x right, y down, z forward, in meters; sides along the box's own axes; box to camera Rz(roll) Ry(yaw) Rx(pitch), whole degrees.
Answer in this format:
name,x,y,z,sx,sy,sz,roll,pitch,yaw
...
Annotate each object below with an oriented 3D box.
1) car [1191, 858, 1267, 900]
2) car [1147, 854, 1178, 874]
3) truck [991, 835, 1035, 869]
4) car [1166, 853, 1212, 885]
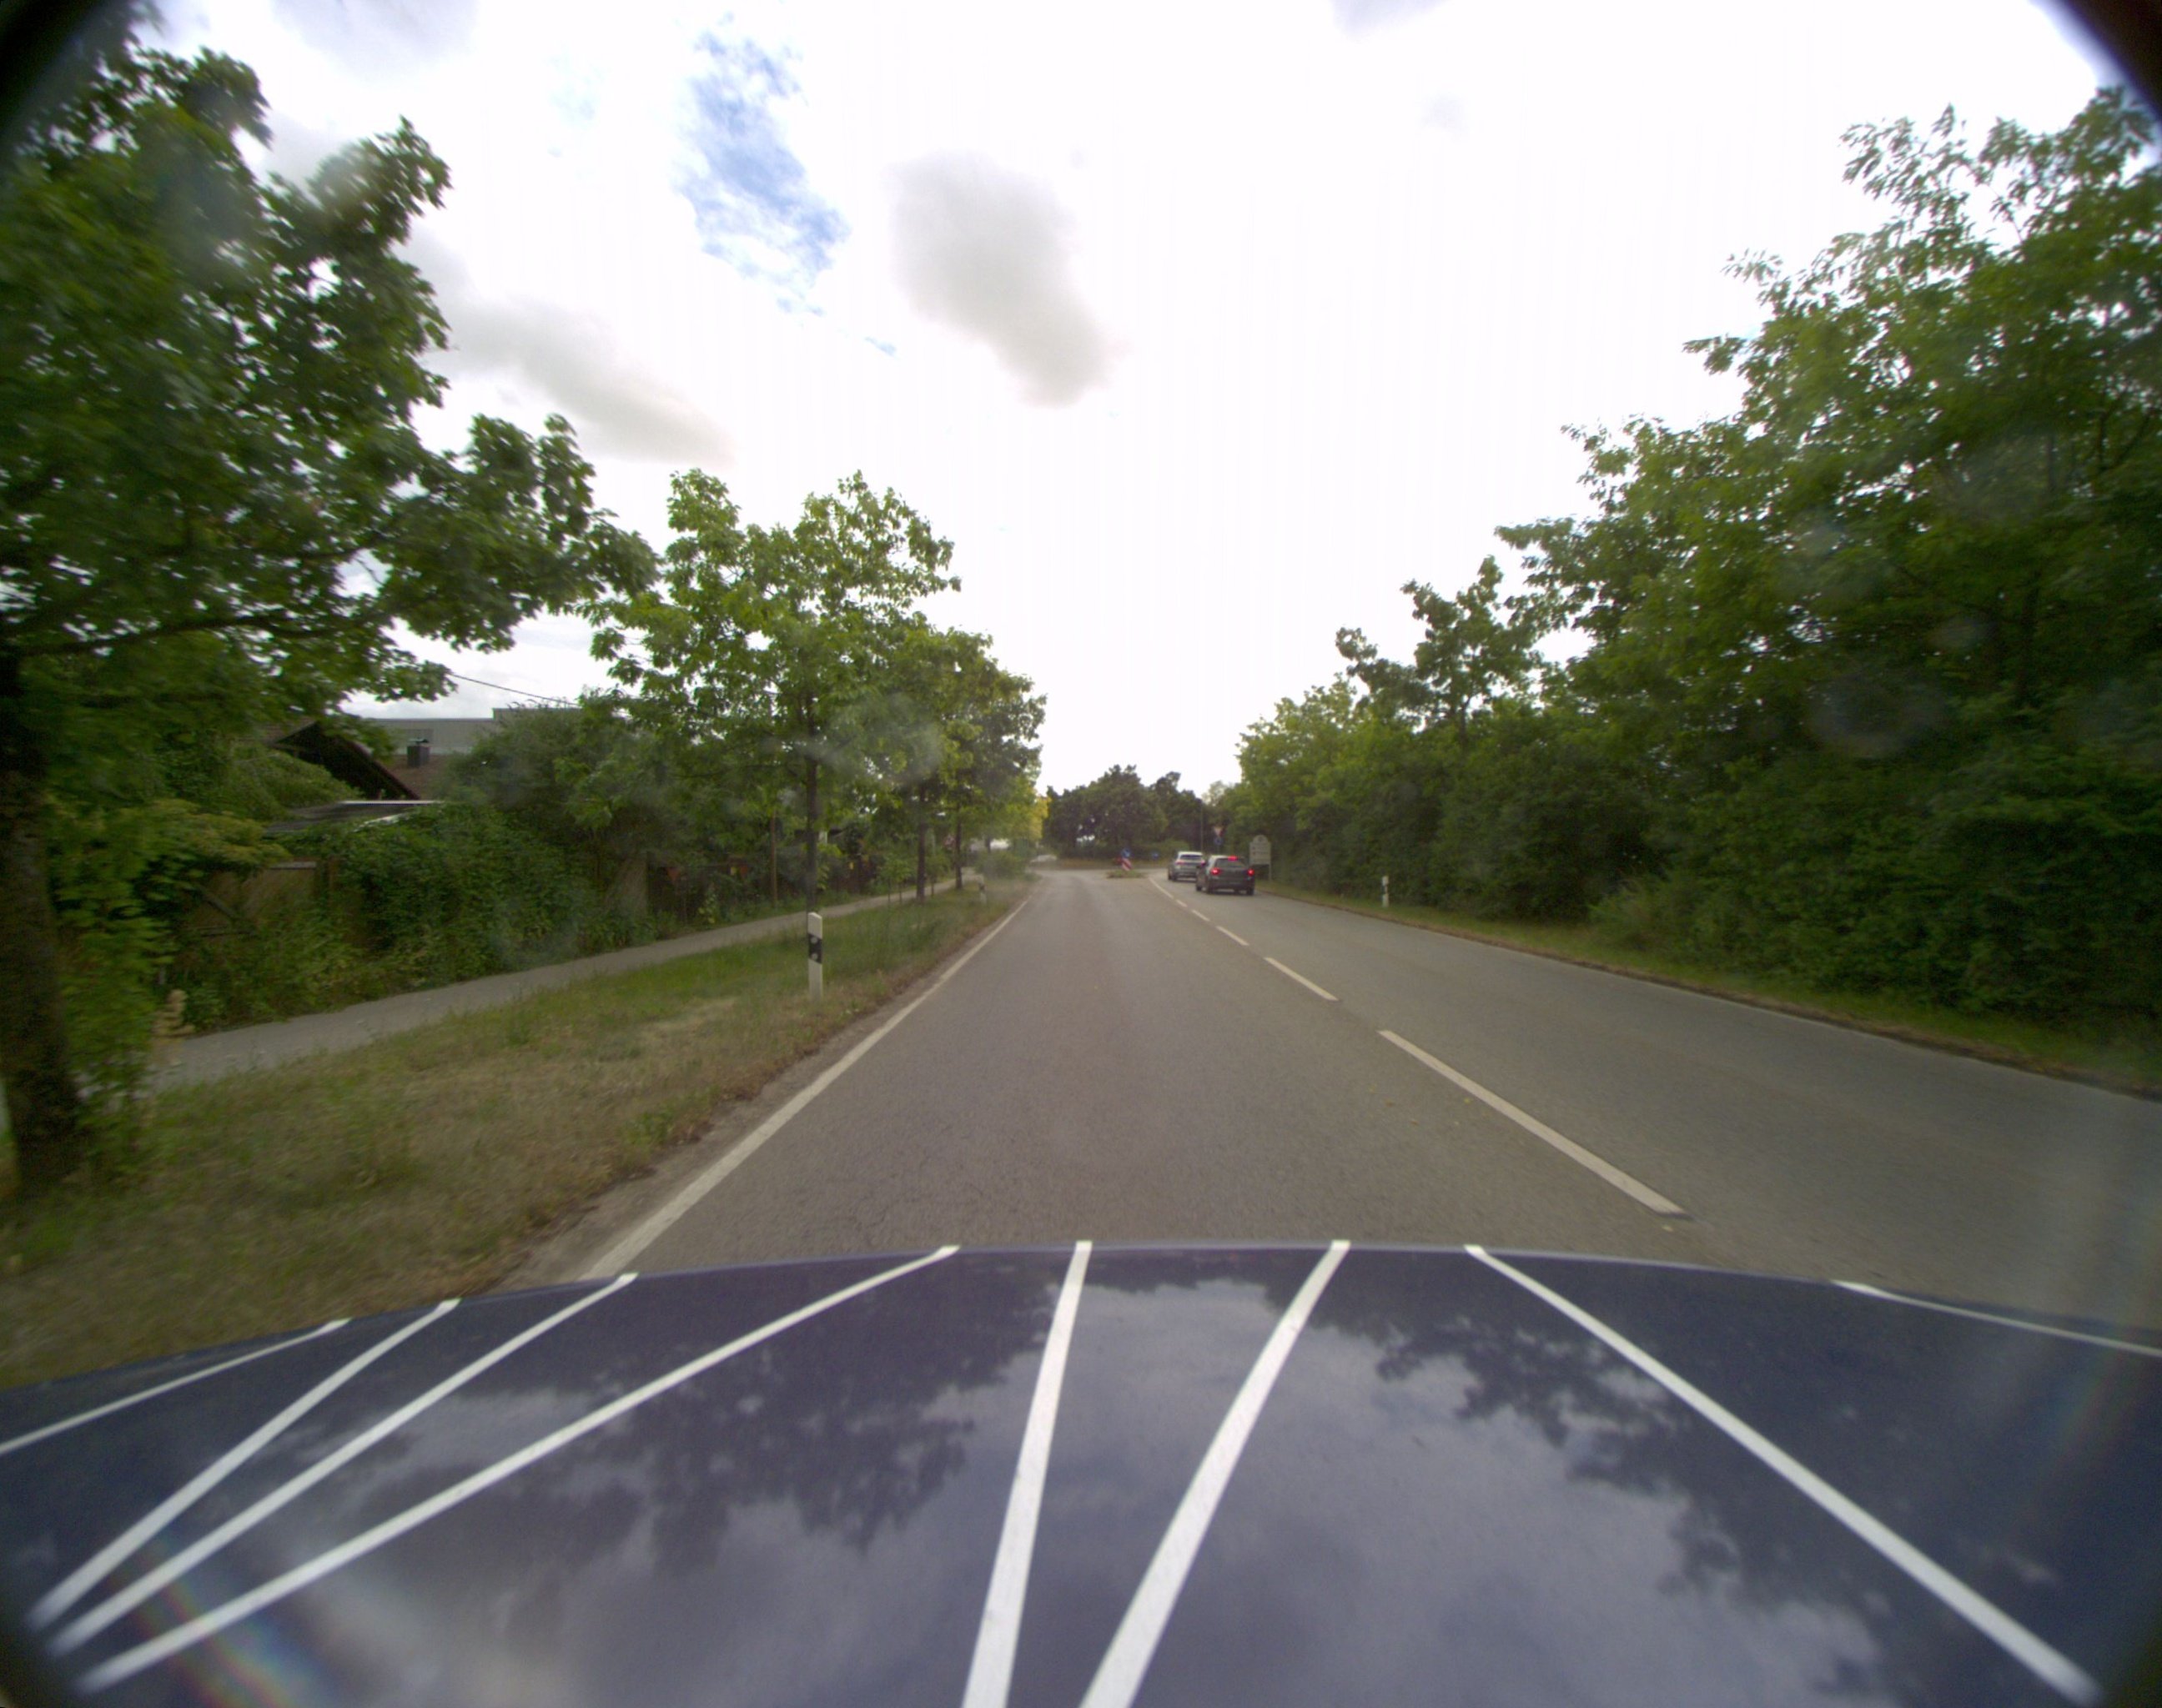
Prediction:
name,x,y,z,sx,sy,sz,roll,pitch,yaw
car,5.623,0.898,29.458,1.999,1.411,4.477,1,1,-1
car,6.351,0.782,59.853,2.218,1.445,4.944,1,0,4
truck,-7.197,-0.236,81.088,2.612,3.427,7.512,-2,0,11
car,5.867,0.765,41.902,1.998,1.592,4.665,1,1,2
